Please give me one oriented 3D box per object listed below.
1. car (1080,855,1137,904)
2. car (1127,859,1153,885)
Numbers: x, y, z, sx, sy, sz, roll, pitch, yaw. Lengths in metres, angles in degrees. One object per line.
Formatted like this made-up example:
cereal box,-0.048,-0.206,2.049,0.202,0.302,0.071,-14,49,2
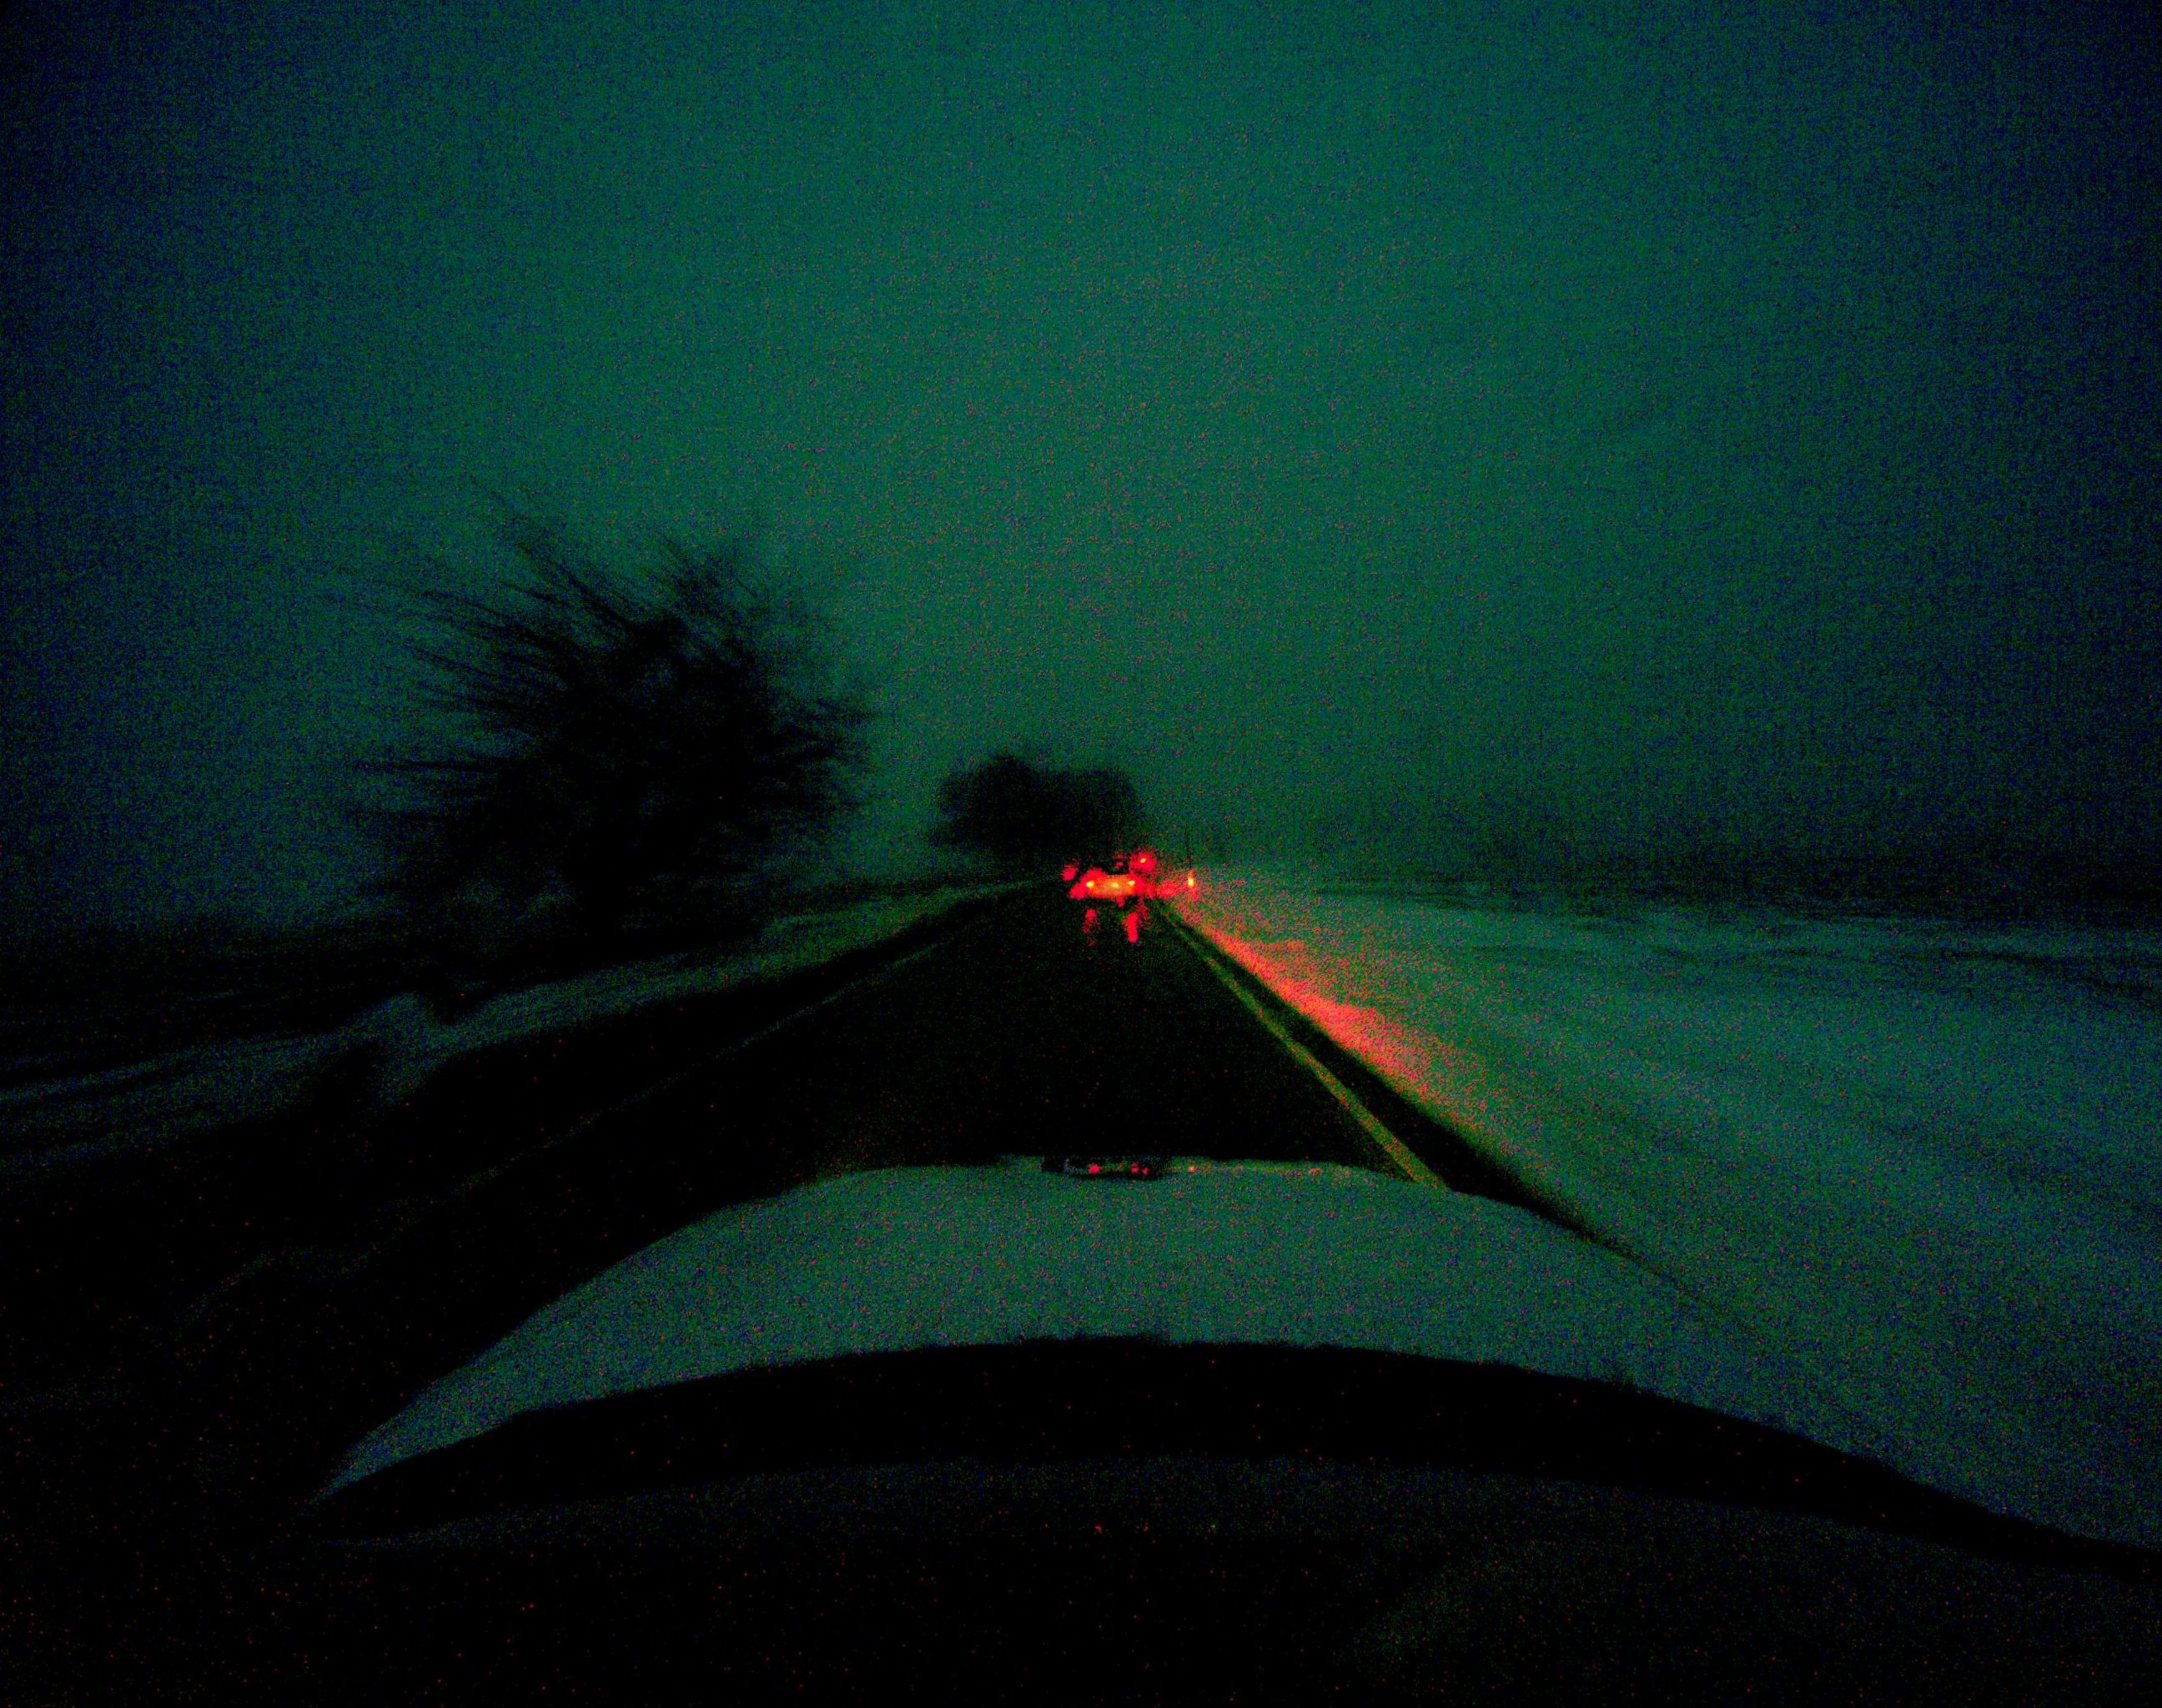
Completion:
car,0.955,0.786,26.654,1.699,1.463,4.005,0,0,4
car,3.612,1.069,50.044,1.472,1.508,3.056,-2,0,4
